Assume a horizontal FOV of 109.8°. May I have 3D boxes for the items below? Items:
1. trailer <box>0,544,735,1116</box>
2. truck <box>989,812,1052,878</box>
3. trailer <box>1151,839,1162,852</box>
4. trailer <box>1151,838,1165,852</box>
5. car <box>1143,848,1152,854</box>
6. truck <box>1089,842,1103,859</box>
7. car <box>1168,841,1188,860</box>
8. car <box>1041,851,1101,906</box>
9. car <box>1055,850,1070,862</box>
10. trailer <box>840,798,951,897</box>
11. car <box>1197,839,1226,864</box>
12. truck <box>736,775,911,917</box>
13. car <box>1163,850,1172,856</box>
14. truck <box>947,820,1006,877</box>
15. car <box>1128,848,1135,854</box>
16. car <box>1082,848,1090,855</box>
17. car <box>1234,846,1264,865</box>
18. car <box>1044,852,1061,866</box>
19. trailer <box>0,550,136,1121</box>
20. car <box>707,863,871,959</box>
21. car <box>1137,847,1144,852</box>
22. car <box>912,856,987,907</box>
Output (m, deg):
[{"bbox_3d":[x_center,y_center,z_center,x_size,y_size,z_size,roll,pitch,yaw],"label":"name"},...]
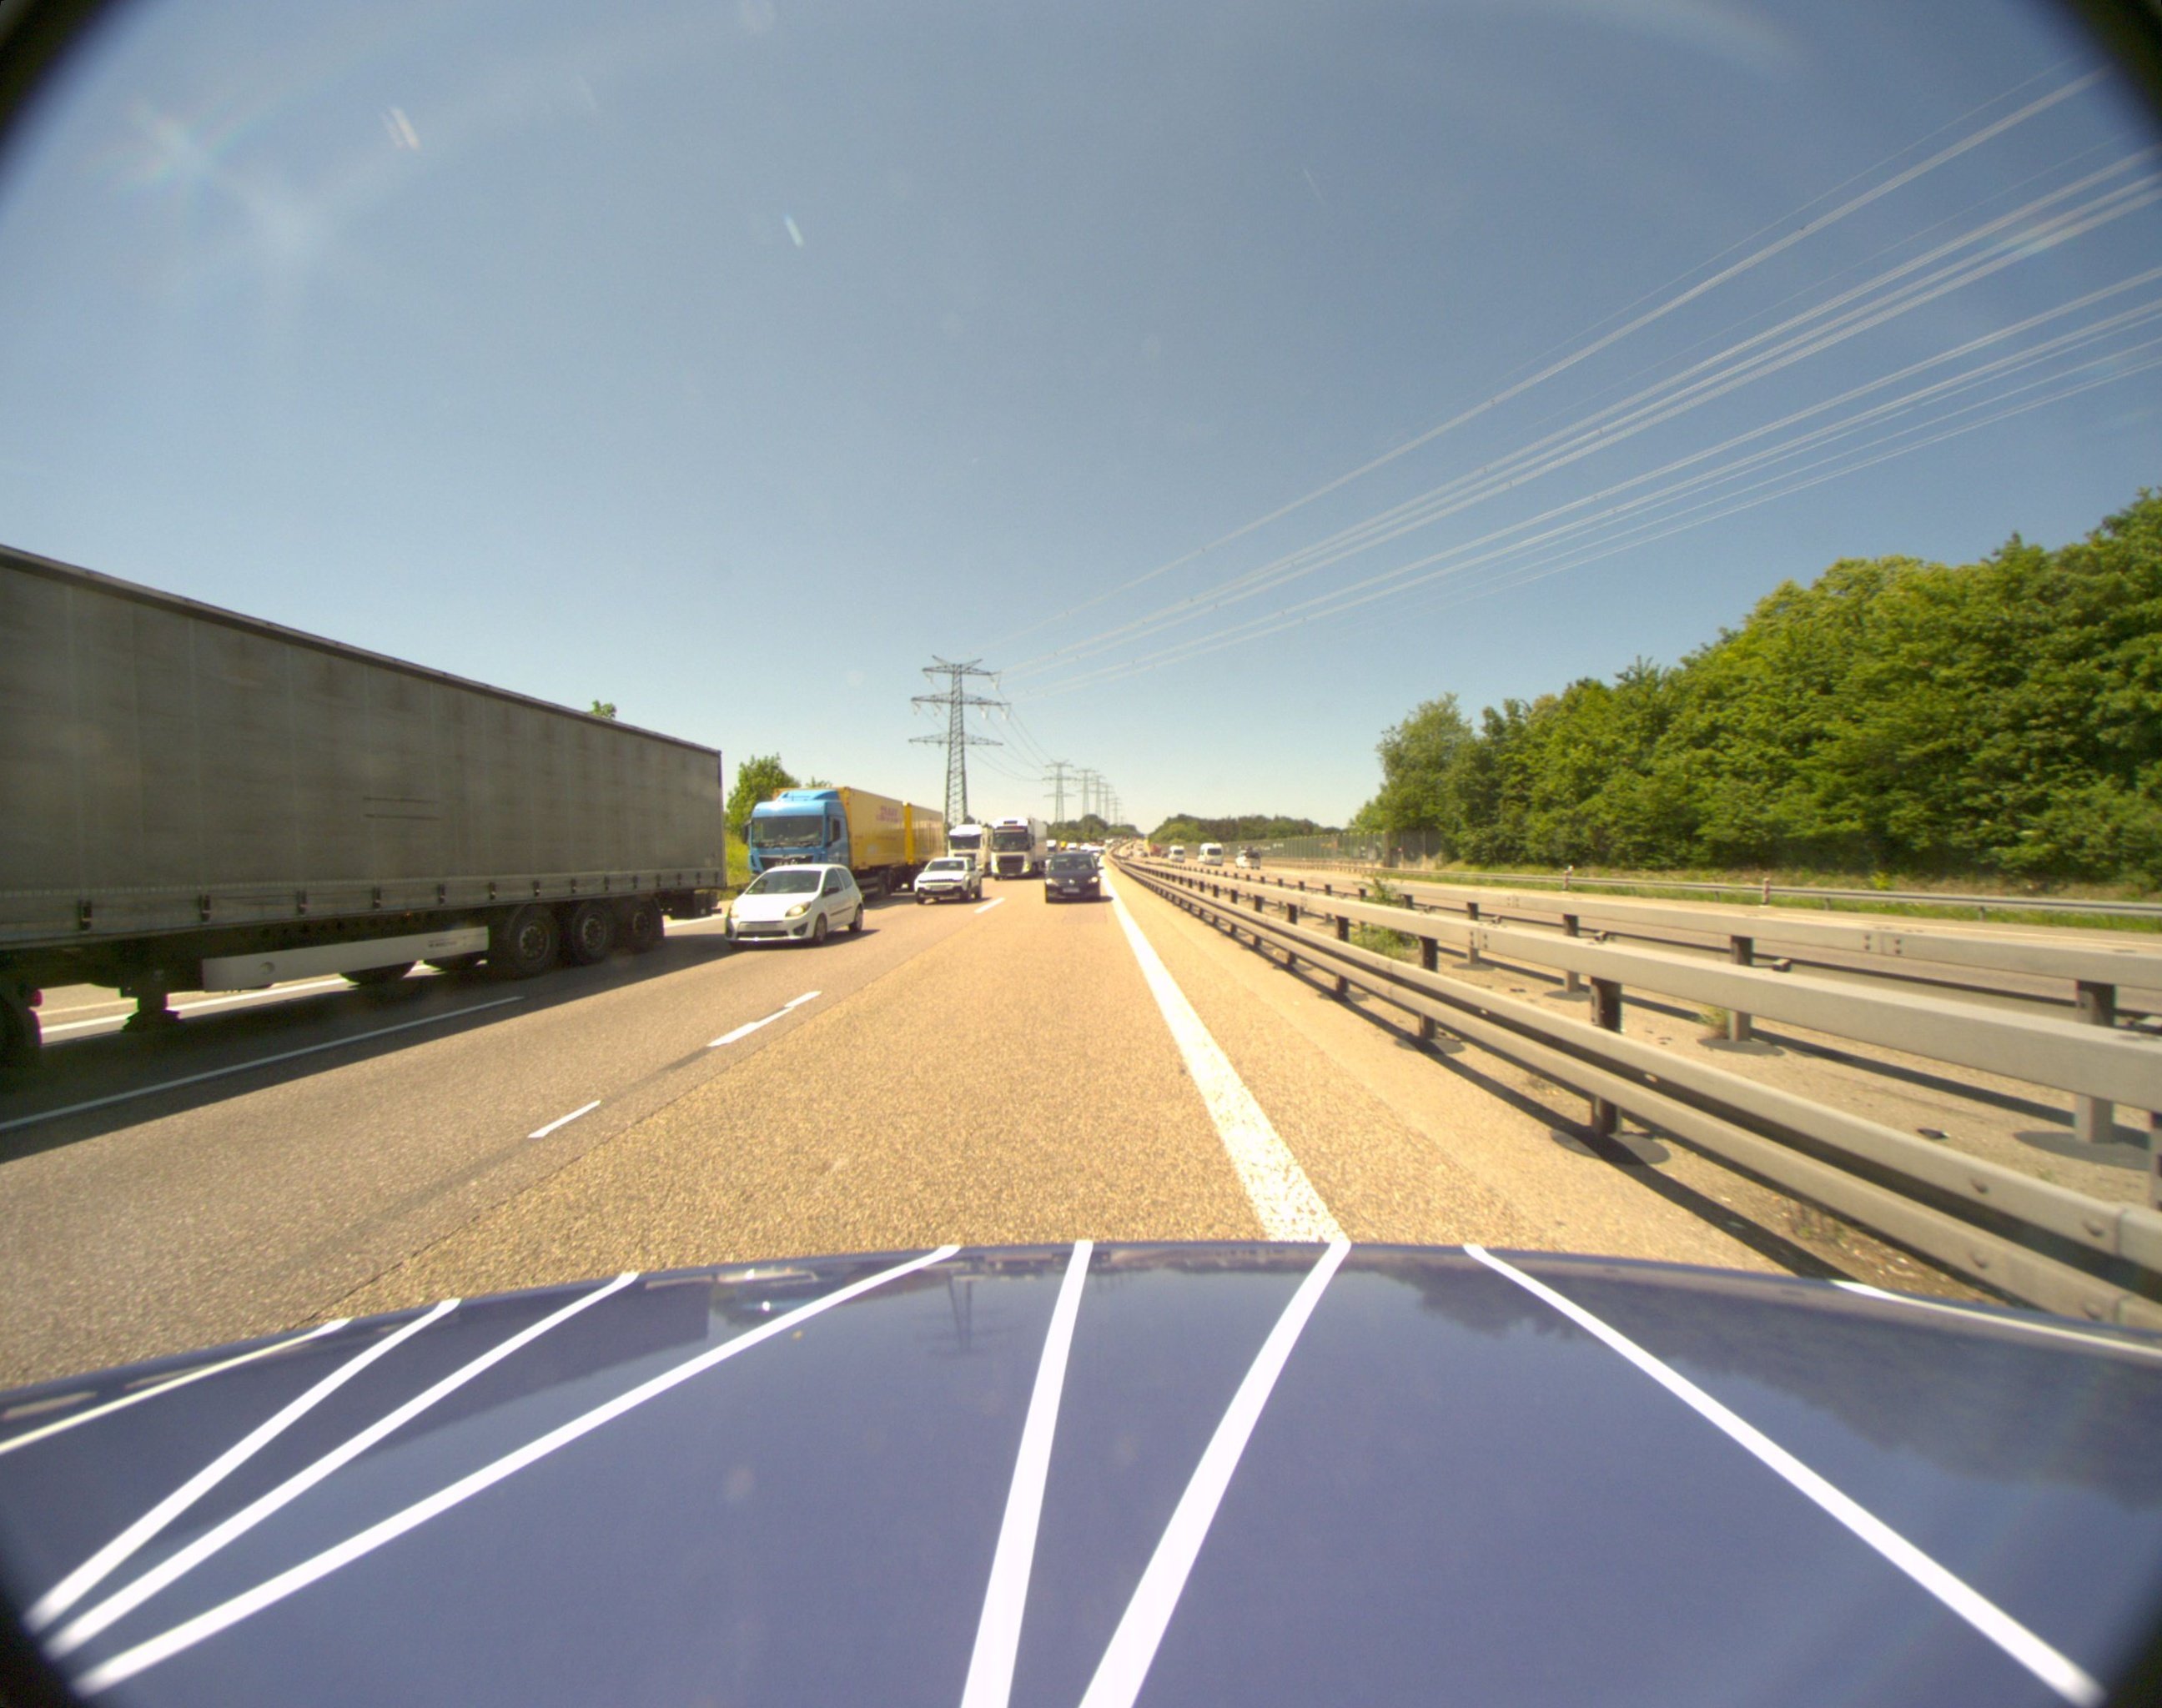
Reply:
[{"bbox_3d":[-9.042,-0.141,9.368,2.970,4.026,13.751,-2,0,1],"label":"trailer"},{"bbox_3d":[-4.016,-0.597,54.126,2.717,4.015,14.256,-2,0,2],"label":"truck"},{"bbox_3d":[23.219,-2.575,234.344,2.764,3.953,6.131,1,0,1],"label":"trailer"},{"bbox_3d":[23.116,-2.573,228.243,2.770,3.953,14.681,1,0,1],"label":"trailer"},{"bbox_3d":[17.654,-0.695,202.941,1.881,1.438,4.144,-4,1,0],"label":"car"},{"bbox_3d":[2.751,-0.673,135.738,2.309,2.789,5.109,-2,1,2],"label":"truck"},{"bbox_3d":[14.644,-0.575,114.908,2.058,2.636,5.838,3,1,0],"label":"car"},{"bbox_3d":[-0.247,0.730,25.173,1.748,1.569,4.000,-2,1,2],"label":"car"},{"bbox_3d":[-2.656,0.251,109.173,1.821,1.569,3.999,-2,1,1],"label":"car"},{"bbox_3d":[-8.641,-0.256,36.792,2.772,4.093,9.377,-2,0,1],"label":"trailer"},{"bbox_3d":[14.160,-0.318,82.719,2.161,2.579,5.889,0,1,0],"label":"car"},{"bbox_3d":[-8.695,-0.230,27.364,2.772,4.085,9.952,-2,0,0],"label":"truck"},{"bbox_3d":[22.032,-0.245,193.524,1.998,1.567,5.274,-2,1,2],"label":"car"},{"bbox_3d":[-7.941,-0.420,59.315,2.695,3.907,11.296,-2,1,1],"label":"truck"},{"bbox_3d":[14.361,-0.977,216.881,1.778,1.621,3.950,-2,1,0],"label":"car"},{"bbox_3d":[1.454,-0.739,218.112,1.998,2.002,3.999,-2,1,1],"label":"car"},{"bbox_3d":[17.861,0.150,81.041,1.869,1.894,5.491,1,1,-1],"label":"car"},{"bbox_3d":[-3.457,0.563,93.132,1.821,1.569,3.999,-2,1,1],"label":"car"},{"bbox_3d":[-9.105,-0.090,2.830,2.931,4.020,6.410,-2,0,1],"label":"trailer"},{"bbox_3d":[-5.487,0.989,14.822,1.659,1.502,3.825,-1,1,0],"label":"car"},{"bbox_3d":[19.690,-1.445,251.728,1.855,1.458,4.304,0,1,0],"label":"car"},{"bbox_3d":[-4.473,0.891,26.386,1.776,1.521,3.851,-2,1,2],"label":"car"}]
